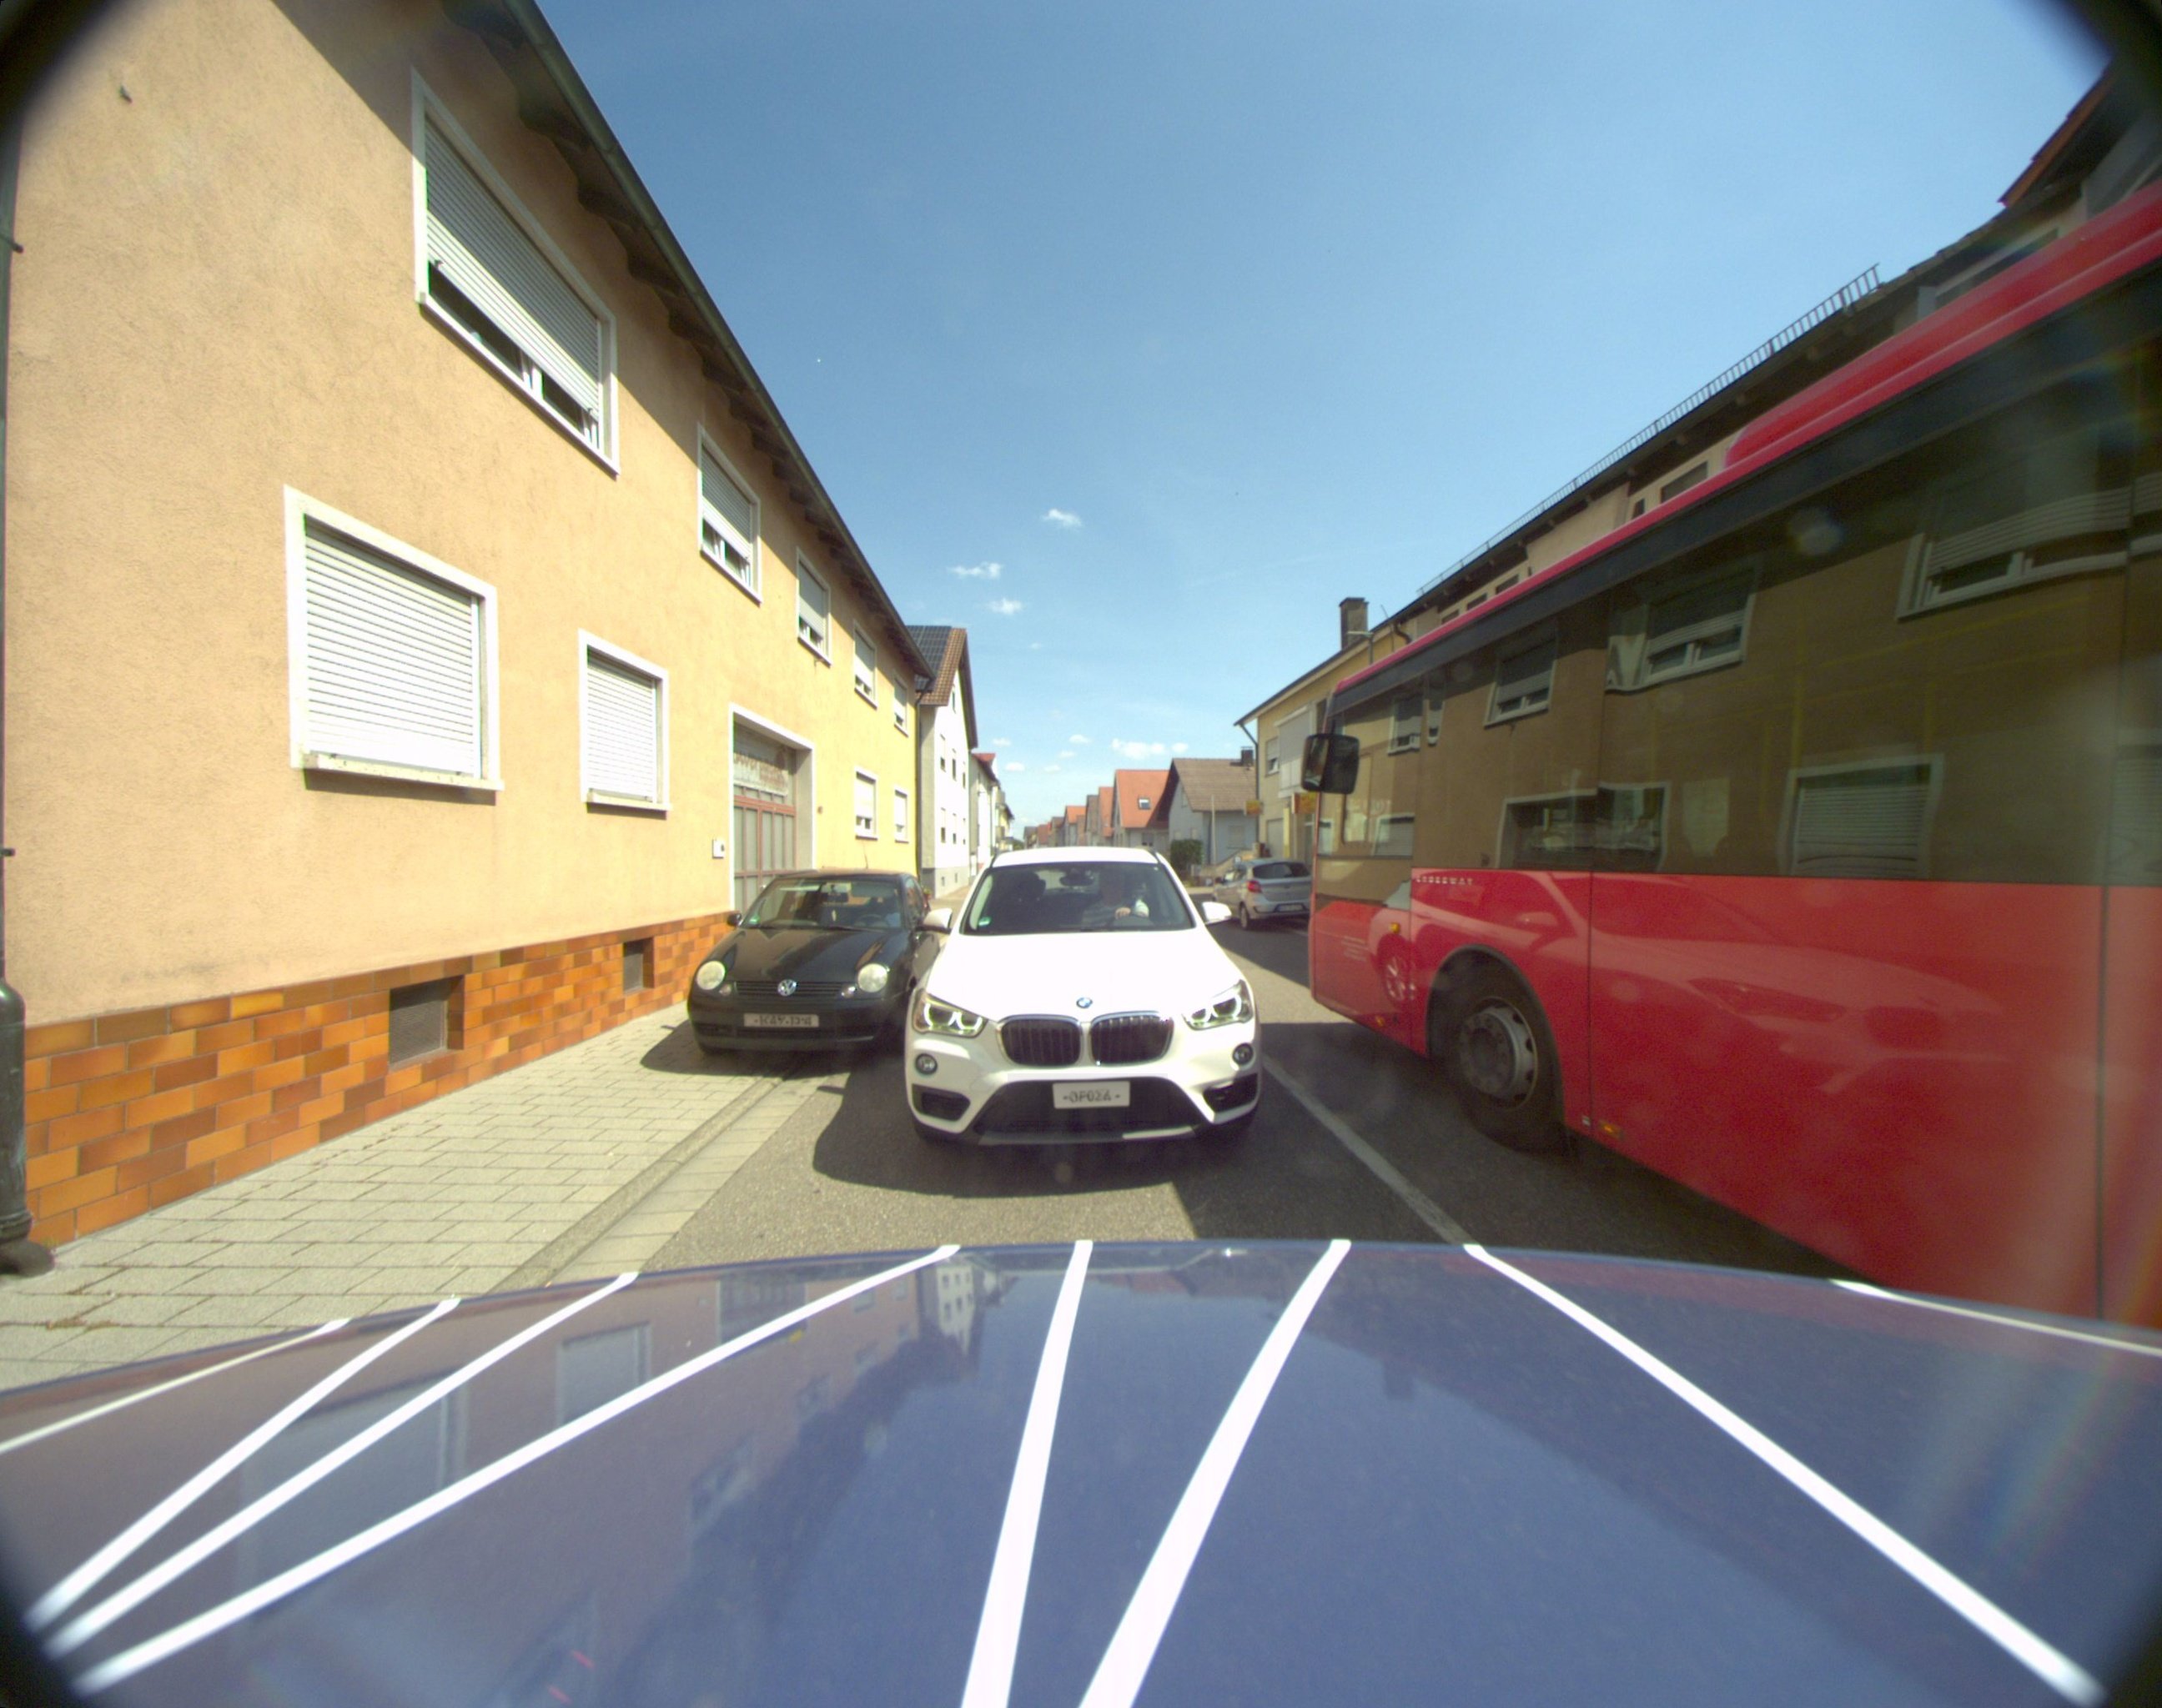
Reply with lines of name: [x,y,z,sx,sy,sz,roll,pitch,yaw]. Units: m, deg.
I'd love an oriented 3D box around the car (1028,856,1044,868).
car: [-5.671,1.012,95.066,1.765,1.420,4.187,0,0,-6]

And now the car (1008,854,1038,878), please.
car: [-3.529,0.708,46.537,1.765,1.420,4.188,0,0,-3]

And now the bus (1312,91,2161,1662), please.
bus: [3.622,0.055,0.197,2.634,3.213,12.017,1,0,-4]

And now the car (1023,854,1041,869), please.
car: [-4.925,0.746,76.389,1.765,1.420,4.188,0,0,-3]

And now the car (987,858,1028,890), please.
car: [-3.426,0.881,35.888,1.765,1.420,4.188,0,0,-3]

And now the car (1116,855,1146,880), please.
car: [3.012,0.809,46.245,1.458,1.362,3.383,-3,0,-2]

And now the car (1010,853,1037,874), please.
car: [-3.955,0.626,52.967,1.765,1.420,4.188,0,0,-3]

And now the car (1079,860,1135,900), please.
car: [0.914,0.933,28.786,1.765,1.389,3.869,1,0,-3]

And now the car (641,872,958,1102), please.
car: [-2.191,0.957,6.965,1.690,1.454,3.628,2,0,-3]

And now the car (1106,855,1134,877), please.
car: [2.546,0.758,50.615,1.442,1.362,3.383,-3,0,-3]

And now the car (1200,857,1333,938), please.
car: [4.148,0.901,17.636,1.749,1.507,3.998,-4,1,-4]

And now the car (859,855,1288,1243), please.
car: [-0.111,0.867,5.566,1.845,1.636,4.373,-2,0,-2]

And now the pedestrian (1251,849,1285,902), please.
pedestrian: [5.835,0.657,23.729,0.757,1.575,0.956,-2,1,-1]
